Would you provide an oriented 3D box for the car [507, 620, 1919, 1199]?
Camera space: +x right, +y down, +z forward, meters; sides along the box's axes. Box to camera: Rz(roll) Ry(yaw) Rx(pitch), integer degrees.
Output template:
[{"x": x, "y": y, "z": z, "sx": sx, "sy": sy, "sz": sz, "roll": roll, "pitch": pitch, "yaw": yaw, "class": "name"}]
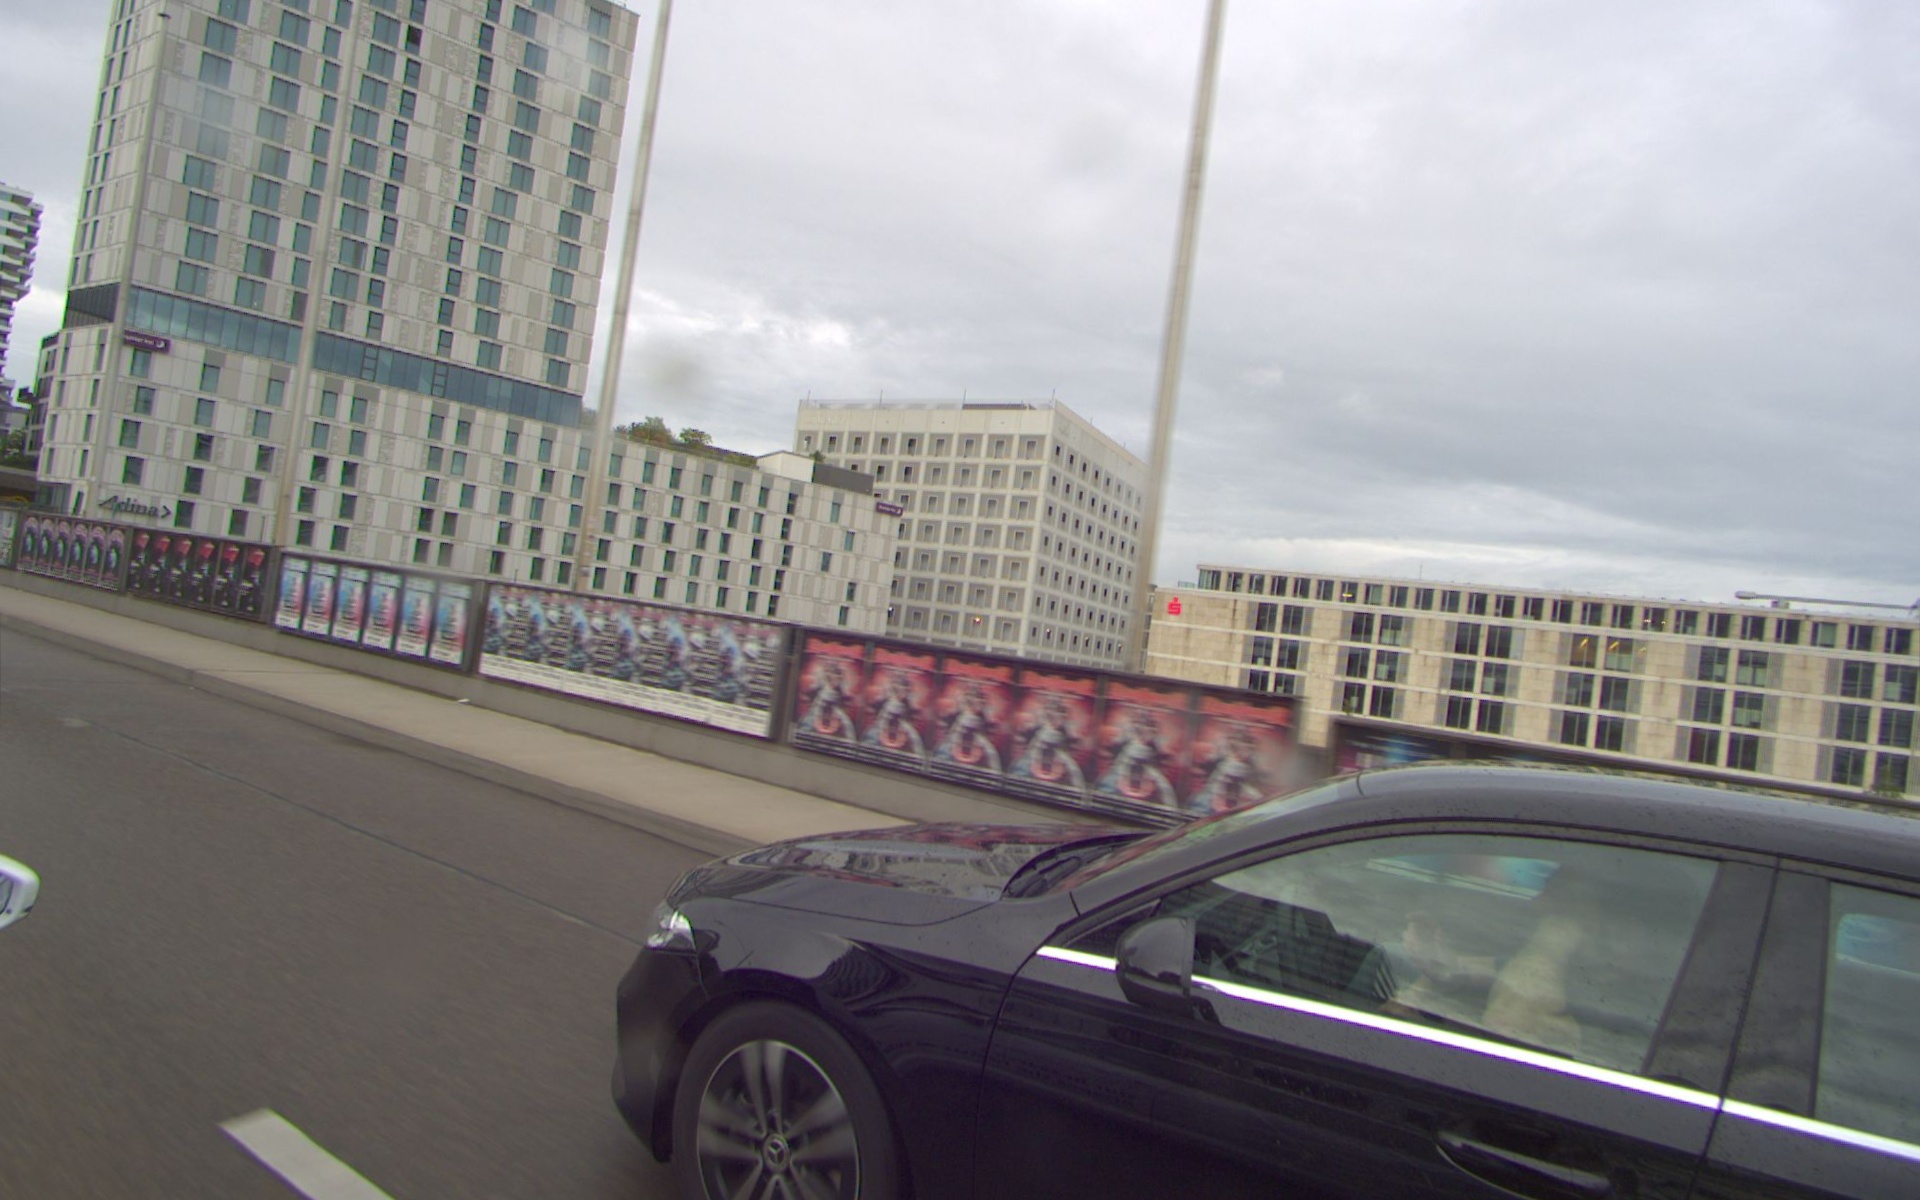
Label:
[{"x": 1.138, "y": 1.001, "z": 2.238, "sx": 4.084, "sy": 1.392, "sz": 1.727, "roll": 6, "pitch": -2, "yaw": 29, "class": "car"}]
